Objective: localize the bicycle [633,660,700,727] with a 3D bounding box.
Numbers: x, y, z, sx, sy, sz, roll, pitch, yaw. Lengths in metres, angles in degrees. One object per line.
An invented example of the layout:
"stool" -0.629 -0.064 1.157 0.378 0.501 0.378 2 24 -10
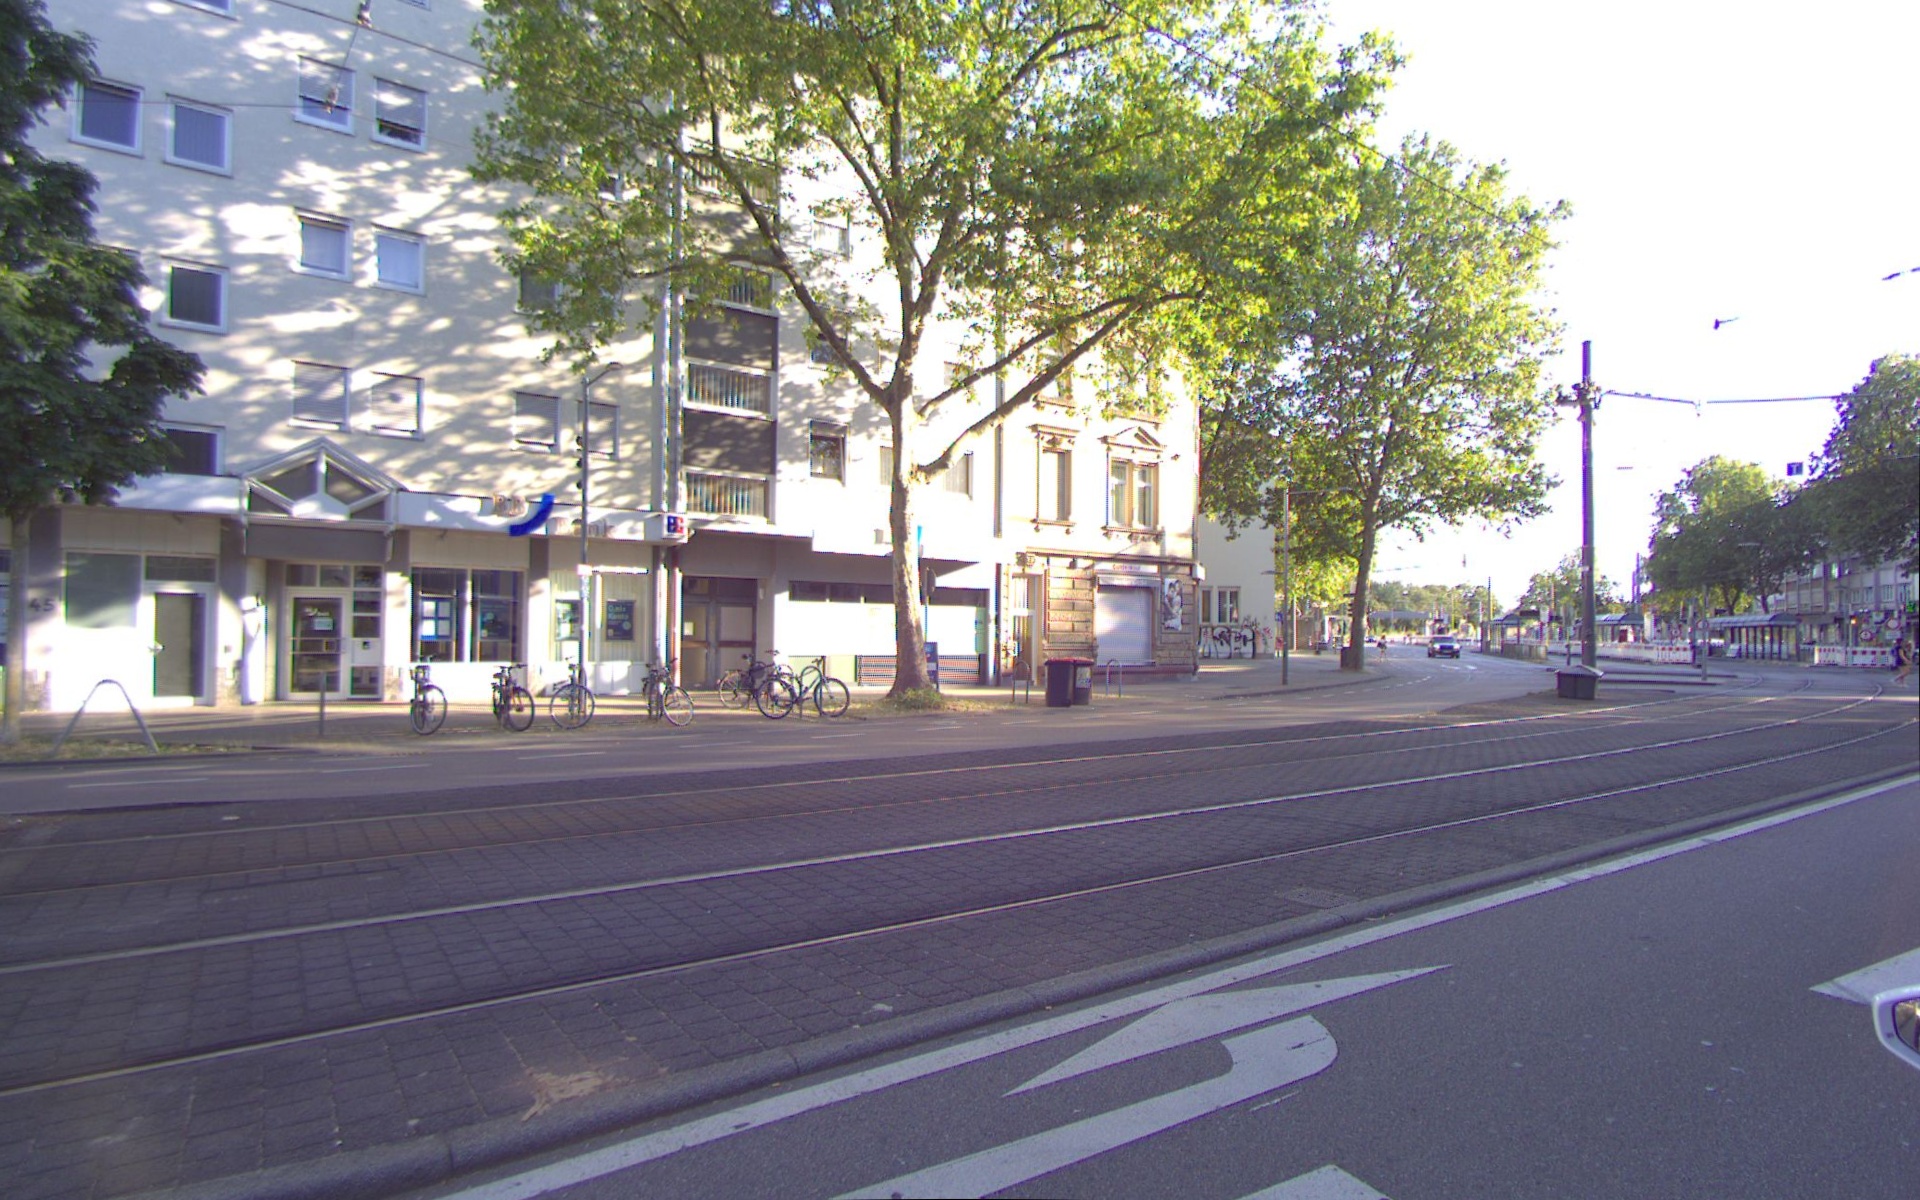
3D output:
"bicycle" -5.042 1.571 17.190 0.584 1.002 1.729 2 -1 -34

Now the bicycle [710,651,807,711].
"bicycle" -3.992 1.588 19.967 1.777 1.132 0.617 2 -2 -29

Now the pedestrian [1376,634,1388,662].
"pedestrian" 25.744 2.908 61.249 0.645 1.678 0.444 0 -2 18

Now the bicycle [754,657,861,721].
"bicycle" -2.741 1.574 18.092 1.800 1.091 0.649 2 -2 -29

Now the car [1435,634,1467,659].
"car" 33.961 3.192 69.569 1.962 1.661 3.997 0 -2 25

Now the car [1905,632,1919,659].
"car" 64.596 3.049 66.114 1.960 1.815 4.000 2 -1 20

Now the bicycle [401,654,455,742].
"bicycle" -7.831 1.404 14.750 0.506 1.153 1.729 2 -1 -34

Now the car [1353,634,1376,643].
"car" 78.253 7.406 194.276 3.919 1.661 1.792 0 -2 13

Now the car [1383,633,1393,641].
"car" 89.585 7.776 210.270 1.814 1.706 3.716 0 -2 23

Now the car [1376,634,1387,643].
"car" 79.466 7.226 189.321 1.814 1.706 3.716 0 -2 23

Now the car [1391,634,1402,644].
"car" 78.786 7.061 181.339 1.814 1.706 3.715 -2 -2 23

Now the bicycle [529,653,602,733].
"bicycle" -6.341 1.452 16.085 0.724 1.128 1.729 2 -1 -34

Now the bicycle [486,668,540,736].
"bicycle" -6.930 1.551 15.539 0.467 0.900 1.729 2 -1 -34

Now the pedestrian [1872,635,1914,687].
"pedestrian" 31.661 2.055 34.090 0.639 1.708 0.985 3 -2 -41
